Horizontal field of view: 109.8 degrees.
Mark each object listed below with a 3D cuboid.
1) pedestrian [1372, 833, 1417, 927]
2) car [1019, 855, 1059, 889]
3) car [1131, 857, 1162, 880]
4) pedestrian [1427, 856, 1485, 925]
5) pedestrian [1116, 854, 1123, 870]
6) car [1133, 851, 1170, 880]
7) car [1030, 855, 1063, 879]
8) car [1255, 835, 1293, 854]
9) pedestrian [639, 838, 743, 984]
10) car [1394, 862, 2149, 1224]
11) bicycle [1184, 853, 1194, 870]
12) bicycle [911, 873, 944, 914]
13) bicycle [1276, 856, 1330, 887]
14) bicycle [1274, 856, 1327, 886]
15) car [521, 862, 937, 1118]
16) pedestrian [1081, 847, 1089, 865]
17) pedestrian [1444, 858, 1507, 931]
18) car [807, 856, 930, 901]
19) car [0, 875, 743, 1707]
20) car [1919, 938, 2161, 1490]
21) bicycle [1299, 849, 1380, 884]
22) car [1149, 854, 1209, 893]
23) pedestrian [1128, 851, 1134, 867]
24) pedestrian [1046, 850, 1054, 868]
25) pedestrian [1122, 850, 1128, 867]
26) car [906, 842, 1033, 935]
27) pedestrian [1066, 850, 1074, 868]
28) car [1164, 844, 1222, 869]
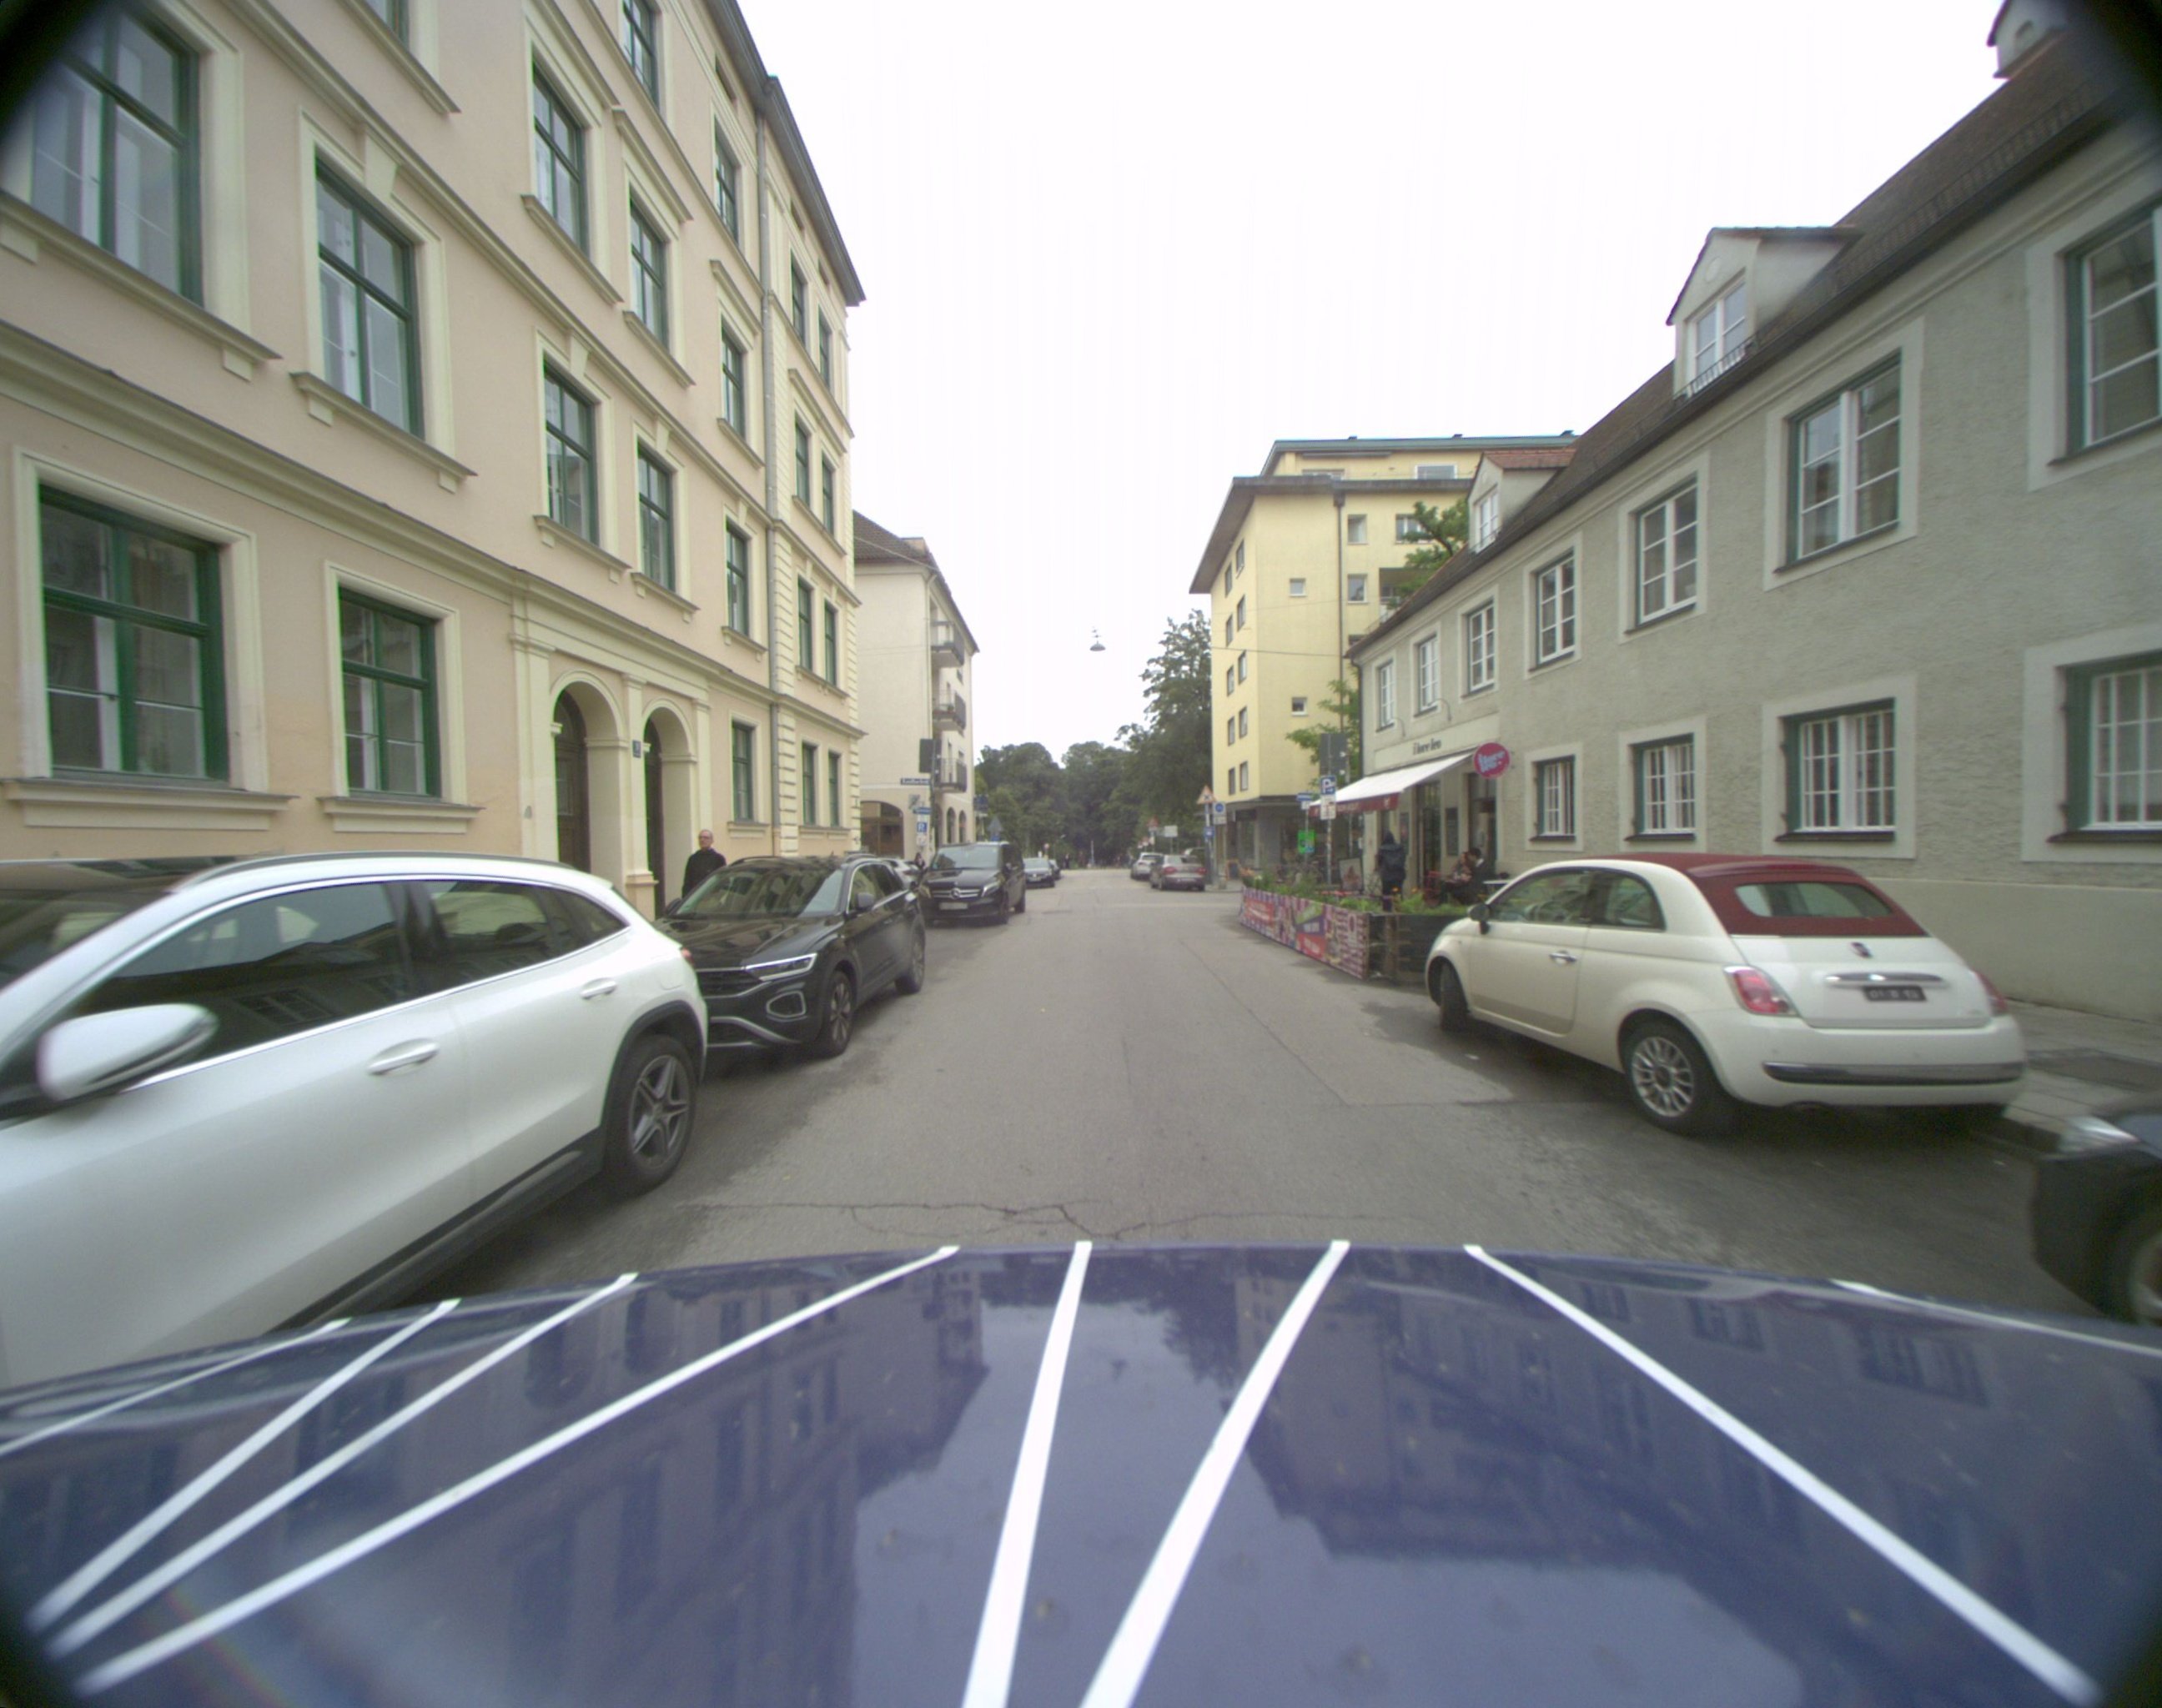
[{"bbox_3d":[6.125,0.489,14.873,0.530,1.772,0.877,-1,2,1],"label":"pedestrian"},{"bbox_3d":[-1.959,0.830,36.266,1.680,1.416,4.203,-3,0,-1],"label":"car"},{"bbox_3d":[4.263,0.943,50.083,1.750,1.402,4.098,0,0,1],"label":"car"},{"bbox_3d":[7.301,0.706,14.819,0.805,1.283,0.693,-1,2,1],"label":"pedestrian"},{"bbox_3d":[4.439,0.946,87.745,0.751,1.822,1.115,0,-1,1],"label":"pedestrian"},{"bbox_3d":[4.071,0.674,44.409,1.807,1.574,4.338,0,-1,1],"label":"car"},{"bbox_3d":[-2.188,0.830,49.362,1.807,1.402,4.656,-2,0,1],"label":"car"},{"bbox_3d":[22.908,-1.077,90.193,3.957,2.093,1.908,-1,2,32],"label":"car"},{"bbox_3d":[-4.832,0.665,9.490,0.720,1.708,1.003,-1,2,0],"label":"pedestrian"},{"bbox_3d":[3.871,0.860,5.247,1.759,1.466,3.713,-2,1,-2],"label":"car"},{"bbox_3d":[7.872,0.536,55.435,0.563,1.203,1.854,-2,1,3],"label":"bicycle"},{"bbox_3d":[-4.109,1.042,20.370,0.466,1.046,1.730,1,-2,2],"label":"bicycle"},{"bbox_3d":[8.108,0.649,27.804,1.822,1.029,0.392,-3,0,4],"label":"bicycle"},{"bbox_3d":[8.132,0.635,28.208,1.822,1.029,0.392,-3,0,4],"label":"bicycle"},{"bbox_3d":[-2.679,0.911,7.057,1.759,1.512,4.274,-1,1,1],"label":"car"},{"bbox_3d":[0.380,0.206,70.392,0.639,1.662,0.774,-3,-2,2],"label":"pedestrian"},{"bbox_3d":[7.303,0.743,14.096,0.805,1.283,0.693,-1,2,1],"label":"pedestrian"},{"bbox_3d":[-7.912,0.921,28.555,4.099,1.595,1.755,-1,-1,-1],"label":"car"},{"bbox_3d":[-2.822,0.957,1.991,1.747,1.574,4.466,-1,1,1],"label":"car"},{"bbox_3d":[3.652,0.941,0.147,1.803,1.331,4.685,-1,0,0],"label":"car"},{"bbox_3d":[10.132,0.477,29.862,2.849,1.205,0.817,-2,2,4],"label":"bicycle"},{"bbox_3d":[3.917,0.731,31.136,1.683,1.463,4.949,0,0,-2],"label":"car"},{"bbox_3d":[5.661,0.566,85.277,0.634,1.771,0.801,0,-1,1],"label":"pedestrian"},{"bbox_3d":[-3.113,0.522,75.781,0.653,1.676,0.976,-3,-2,2],"label":"pedestrian"},{"bbox_3d":[4.927,0.499,85.276,0.707,1.892,0.804,0,-1,1],"label":"pedestrian"},{"bbox_3d":[-2.463,0.691,18.270,2.002,1.853,5.253,-2,1,2],"label":"car"},{"bbox_3d":[-1.027,0.449,70.051,0.686,1.662,0.774,-3,-2,2],"label":"pedestrian"},{"bbox_3d":[9.524,0.199,64.776,4.422,1.990,1.933,-1,2,-14],"label":"car"}]
